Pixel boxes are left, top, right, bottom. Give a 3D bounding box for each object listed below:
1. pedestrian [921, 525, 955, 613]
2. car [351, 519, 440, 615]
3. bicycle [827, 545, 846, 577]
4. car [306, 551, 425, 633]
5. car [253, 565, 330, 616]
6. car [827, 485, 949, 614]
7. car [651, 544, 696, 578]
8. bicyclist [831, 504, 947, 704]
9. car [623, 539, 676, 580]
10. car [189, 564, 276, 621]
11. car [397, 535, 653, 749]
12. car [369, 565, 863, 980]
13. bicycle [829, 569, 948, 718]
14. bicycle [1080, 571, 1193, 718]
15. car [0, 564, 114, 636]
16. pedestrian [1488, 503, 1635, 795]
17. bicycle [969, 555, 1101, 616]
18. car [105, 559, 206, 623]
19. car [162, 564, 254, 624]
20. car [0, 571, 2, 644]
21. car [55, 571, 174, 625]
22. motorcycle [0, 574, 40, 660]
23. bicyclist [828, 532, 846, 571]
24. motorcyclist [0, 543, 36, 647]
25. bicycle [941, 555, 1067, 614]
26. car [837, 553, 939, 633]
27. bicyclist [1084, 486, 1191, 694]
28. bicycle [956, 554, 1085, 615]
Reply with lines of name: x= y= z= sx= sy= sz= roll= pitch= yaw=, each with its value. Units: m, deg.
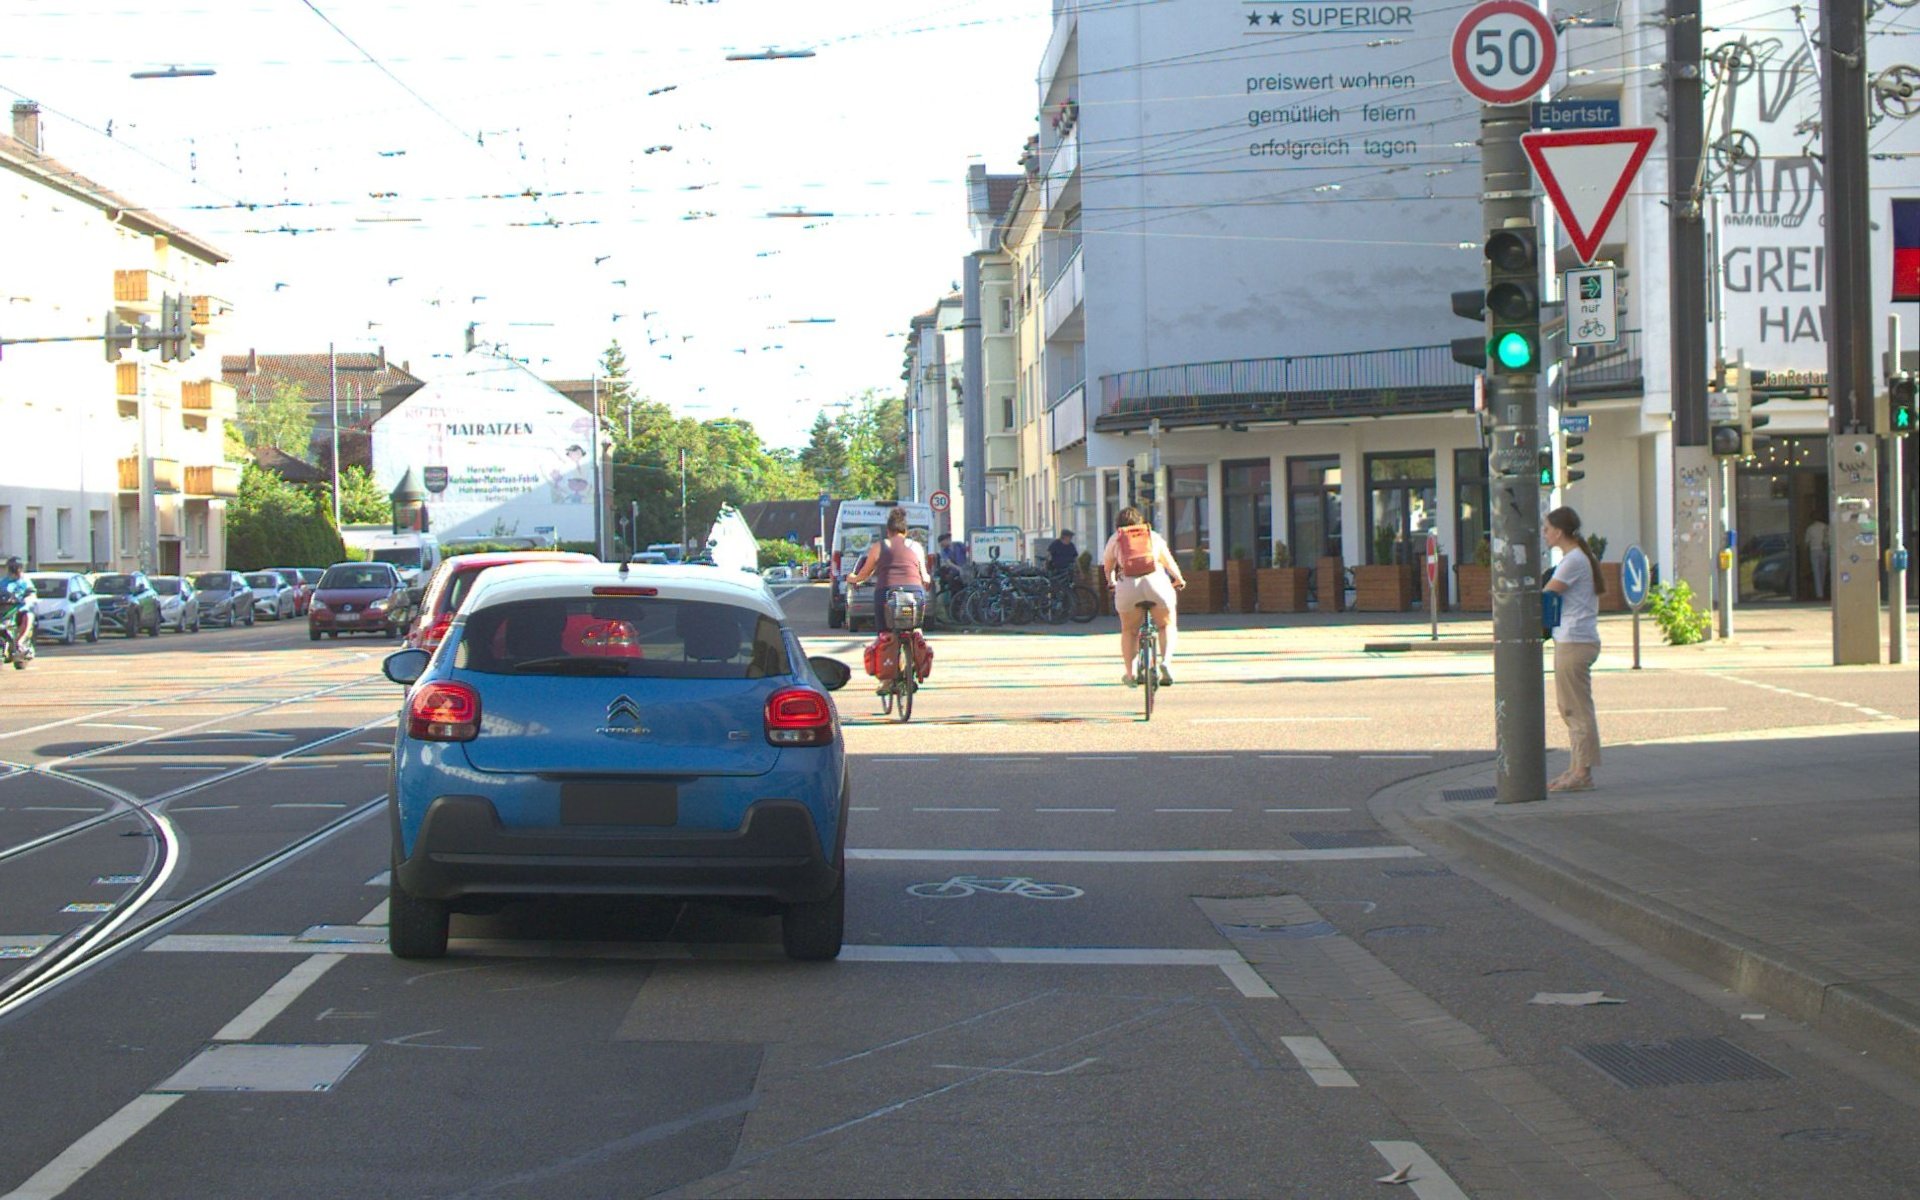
pedestrian: x=-0.416 y=-0.585 z=65.394 sx=0.613 sy=1.648 sz=0.671 roll=1 pitch=0 yaw=1
car: x=-18.988 y=-1.115 z=115.782 sx=2.418 sy=3.131 sz=3.489 roll=1 pitch=0 yaw=-1
bicycle: x=-6.410 y=-2.037 z=178.732 sx=0.791 sy=1.664 sz=2.229 roll=1 pitch=0 yaw=3
car: x=-11.429 y=-0.167 z=66.322 sx=1.778 sy=1.481 sz=3.829 roll=-2 pitch=1 yaw=-3
car: x=-21.202 y=-0.325 z=109.195 sx=1.869 sy=1.571 sz=4.001 roll=1 pitch=1 yaw=-3
car: x=-1.481 y=-0.992 z=68.613 sx=2.265 sy=2.473 sz=5.009 roll=0 pitch=1 yaw=-3
car: x=-15.326 y=-2.060 z=183.859 sx=2.074 sy=1.756 sz=5.037 roll=1 pitch=1 yaw=-1
bicyclist: x=-0.599 y=0.031 z=29.397 sx=0.940 sy=1.667 sz=1.079 roll=1 pitch=0 yaw=1
car: x=-15.002 y=-1.966 z=166.366 sx=2.218 sy=1.925 sz=4.950 roll=1 pitch=1 yaw=-1
car: x=-20.957 y=-0.227 z=99.099 sx=1.869 sy=1.571 sz=4.001 roll=1 pitch=1 yaw=-3
car: x=-3.472 y=0.278 z=26.945 sx=1.784 sy=1.516 sz=3.763 roll=1 pitch=1 yaw=-10
car: x=-1.479 y=0.583 z=13.978 sx=1.736 sy=1.447 sz=3.663 roll=0 pitch=1 yaw=-8
bicycle: x=-0.594 y=0.349 z=29.420 sx=0.940 sy=1.219 sz=2.094 roll=1 pitch=0 yaw=1
bicycle: x=1.489 y=0.350 z=28.721 sx=0.811 sy=1.177 sz=2.063 roll=1 pitch=0 yaw=6
car: x=-19.989 y=-0.018 z=75.719 sx=1.741 sy=1.521 sz=4.230 roll=1 pitch=1 yaw=-2
pedestrian: x=3.470 y=0.275 z=19.818 sx=0.540 sy=1.618 sz=0.732 roll=-6 pitch=-2 yaw=24
bicycle: x=1.335 y=-0.261 z=61.523 sx=2.251 sy=0.998 sz=0.856 roll=-2 pitch=1 yaw=-3
car: x=-20.706 y=-0.245 z=88.643 sx=1.869 sy=1.571 sz=4.001 roll=1 pitch=1 yaw=-3
car: x=-20.683 y=-0.182 z=94.707 sx=1.869 sy=1.571 sz=4.001 roll=1 pitch=1 yaw=-3
car: x=-19.907 y=0.096 z=65.677 sx=2.154 sy=1.427 sz=4.441 roll=1 pitch=-1 yaw=-3
car: x=-20.231 y=-0.069 z=82.427 sx=1.946 sy=1.235 sz=4.283 roll=1 pitch=1 yaw=-3
motorcycle: x=-13.782 y=0.264 z=49.845 sx=0.711 sy=1.216 sz=1.966 roll=-1 pitch=-1 yaw=-19
bicyclist: x=-6.403 y=-2.506 z=178.730 sx=0.791 sy=2.018 sz=0.986 roll=1 pitch=0 yaw=3
motorcyclist: x=-13.786 y=-0.067 z=49.831 sx=0.693 sy=1.491 sz=0.684 roll=-1 pitch=-1 yaw=-19
bicycle: x=0.817 y=-0.286 z=63.979 sx=2.251 sy=0.998 sz=0.856 roll=-2 pitch=1 yaw=-3
car: x=-1.363 y=-0.145 z=63.547 sx=1.657 sy=1.426 sz=3.889 roll=1 pitch=1 yaw=-4
bicyclist: x=1.479 y=-0.089 z=28.540 sx=0.811 sy=1.686 sz=0.935 roll=1 pitch=0 yaw=6
bicycle: x=1.100 y=-0.286 z=62.867 sx=2.251 sy=0.998 sz=0.856 roll=-2 pitch=1 yaw=-3
